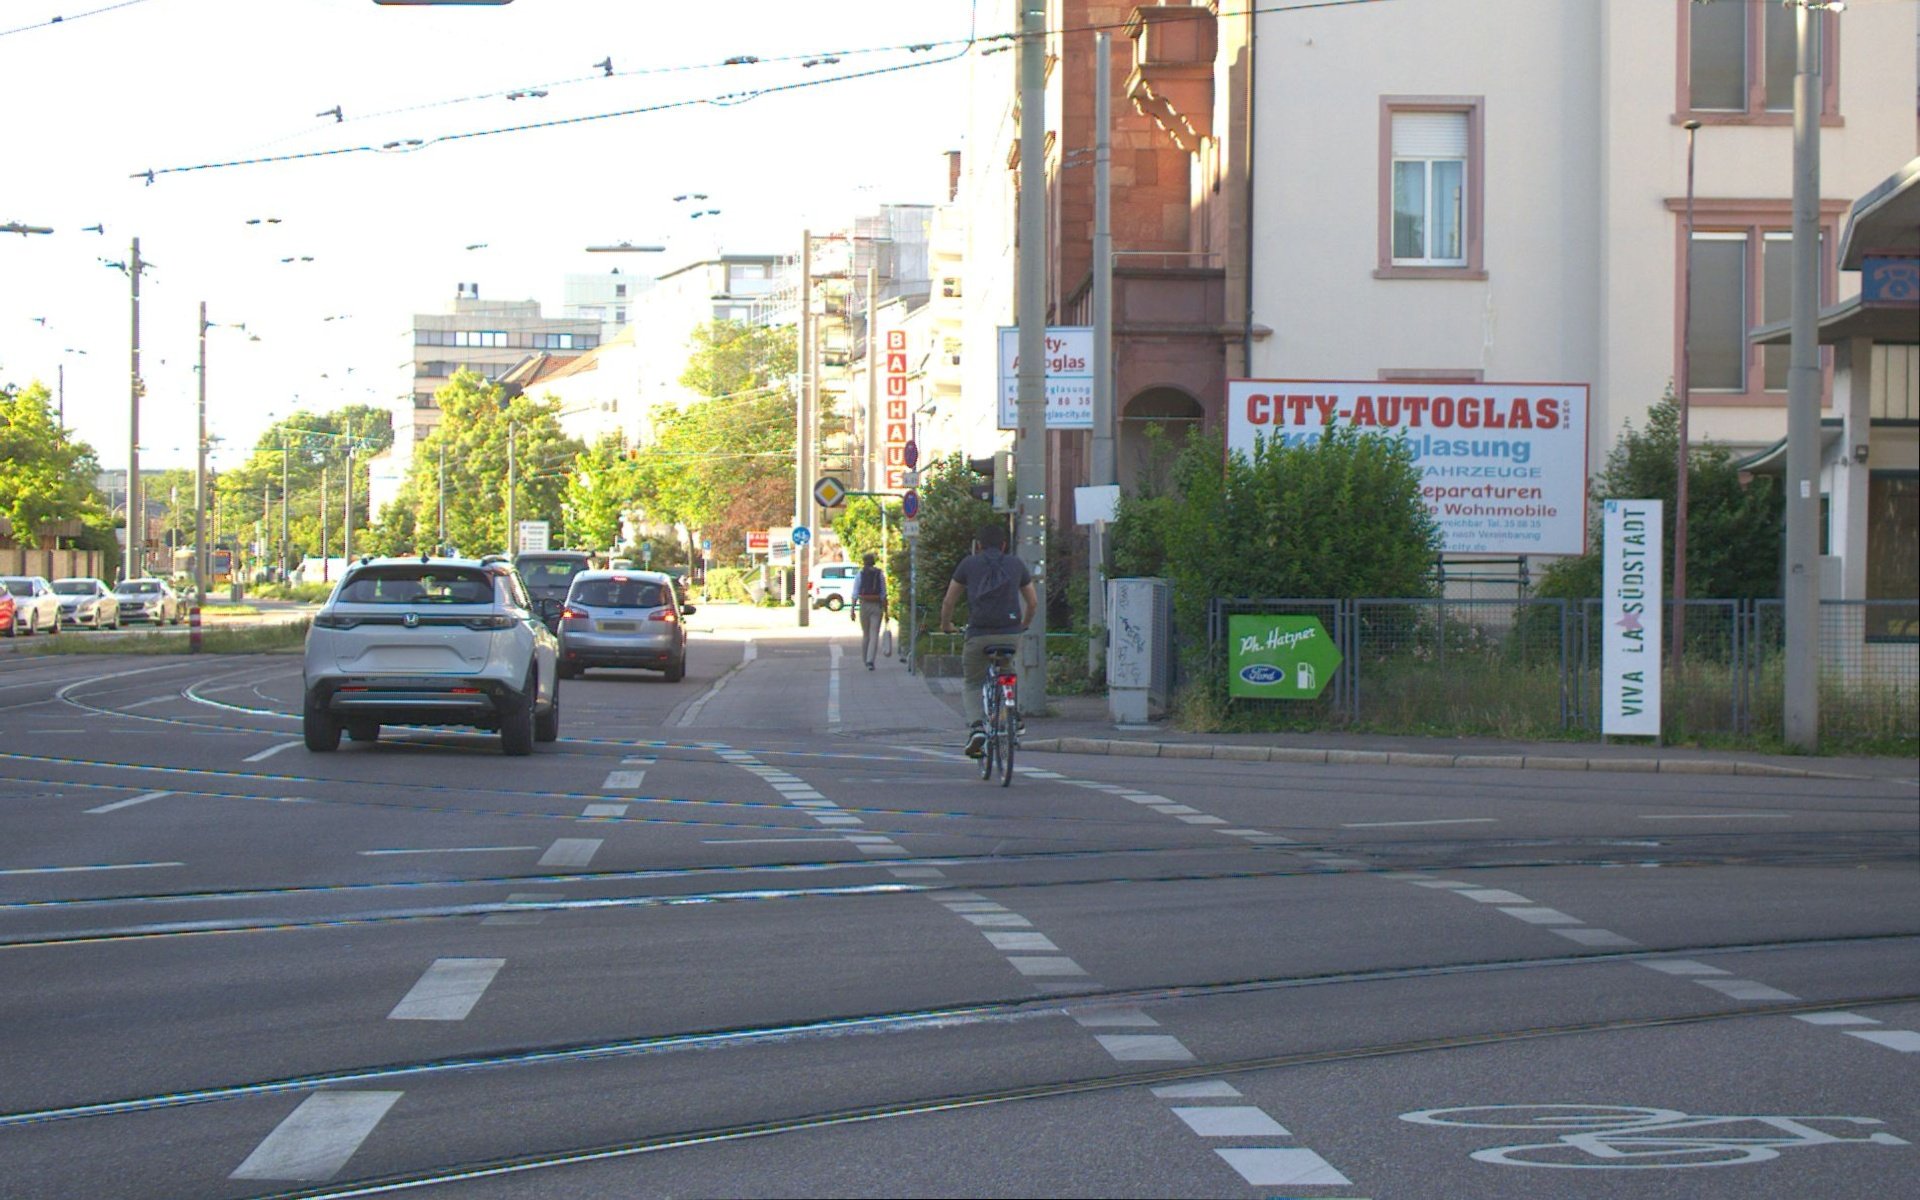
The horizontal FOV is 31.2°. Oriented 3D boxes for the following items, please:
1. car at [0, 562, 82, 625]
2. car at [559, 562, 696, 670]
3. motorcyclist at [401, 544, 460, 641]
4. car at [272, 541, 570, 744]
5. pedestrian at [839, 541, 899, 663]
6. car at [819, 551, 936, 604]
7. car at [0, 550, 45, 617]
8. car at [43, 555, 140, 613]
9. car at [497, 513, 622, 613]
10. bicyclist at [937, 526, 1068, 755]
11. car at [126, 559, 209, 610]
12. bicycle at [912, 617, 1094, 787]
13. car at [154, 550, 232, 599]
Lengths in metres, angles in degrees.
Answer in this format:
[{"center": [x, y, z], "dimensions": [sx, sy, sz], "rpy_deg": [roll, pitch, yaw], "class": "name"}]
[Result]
[{"center": [-23.319, -0.170, 86.127], "dimensions": [1.719, 1.547, 4.000], "rpy_deg": [0, 1, -1], "class": "car"}, {"center": [-4.992, 0.217, 52.052], "dimensions": [1.814, 1.577, 4.000], "rpy_deg": [0, 0, -2], "class": "car"}, {"center": [-7.844, -0.116, 50.930], "dimensions": [0.777, 1.418, 0.891], "rpy_deg": [0, 1, -3], "class": "motorcyclist"}, {"center": [-4.324, 0.293, 28.158], "dimensions": [1.947, 1.523, 4.090], "rpy_deg": [1, 1, -2], "class": "car"}, {"center": [-1.386, 0.025, 52.506], "dimensions": [0.875, 1.818, 1.184], "rpy_deg": [1, 0, 0], "class": "pedestrian"}, {"center": [-3.237, -0.896, 134.386], "dimensions": [4.257, 2.007, 2.001], "rpy_deg": [1, 0, -10], "class": "car"}, {"center": [-23.001, -0.411, 81.386], "dimensions": [1.719, 1.546, 4.000], "rpy_deg": [0, 1, -1], "class": "car"}, {"center": [-23.811, -0.440, 94.385], "dimensions": [1.719, 1.547, 4.000], "rpy_deg": [0, 1, -1], "class": "car"}, {"center": [-8.280, -0.762, 71.467], "dimensions": [2.172, 2.002, 4.808], "rpy_deg": [0, 1, -2], "class": "car"}, {"center": [0.279, 0.265, 23.429], "dimensions": [0.834, 1.520, 0.994], "rpy_deg": [1, 0, -2], "class": "bicyclist"}, {"center": [-24.224, -0.489, 105.239], "dimensions": [1.719, 1.546, 4.000], "rpy_deg": [0, 1, -1], "class": "car"}, {"center": [0.273, 0.674, 23.534], "dimensions": [0.770, 1.082, 1.871], "rpy_deg": [0, 1, -15], "class": "bicycle"}, {"center": [-24.792, -0.835, 111.239], "dimensions": [1.719, 1.546, 4.000], "rpy_deg": [0, 1, -1], "class": "car"}]
